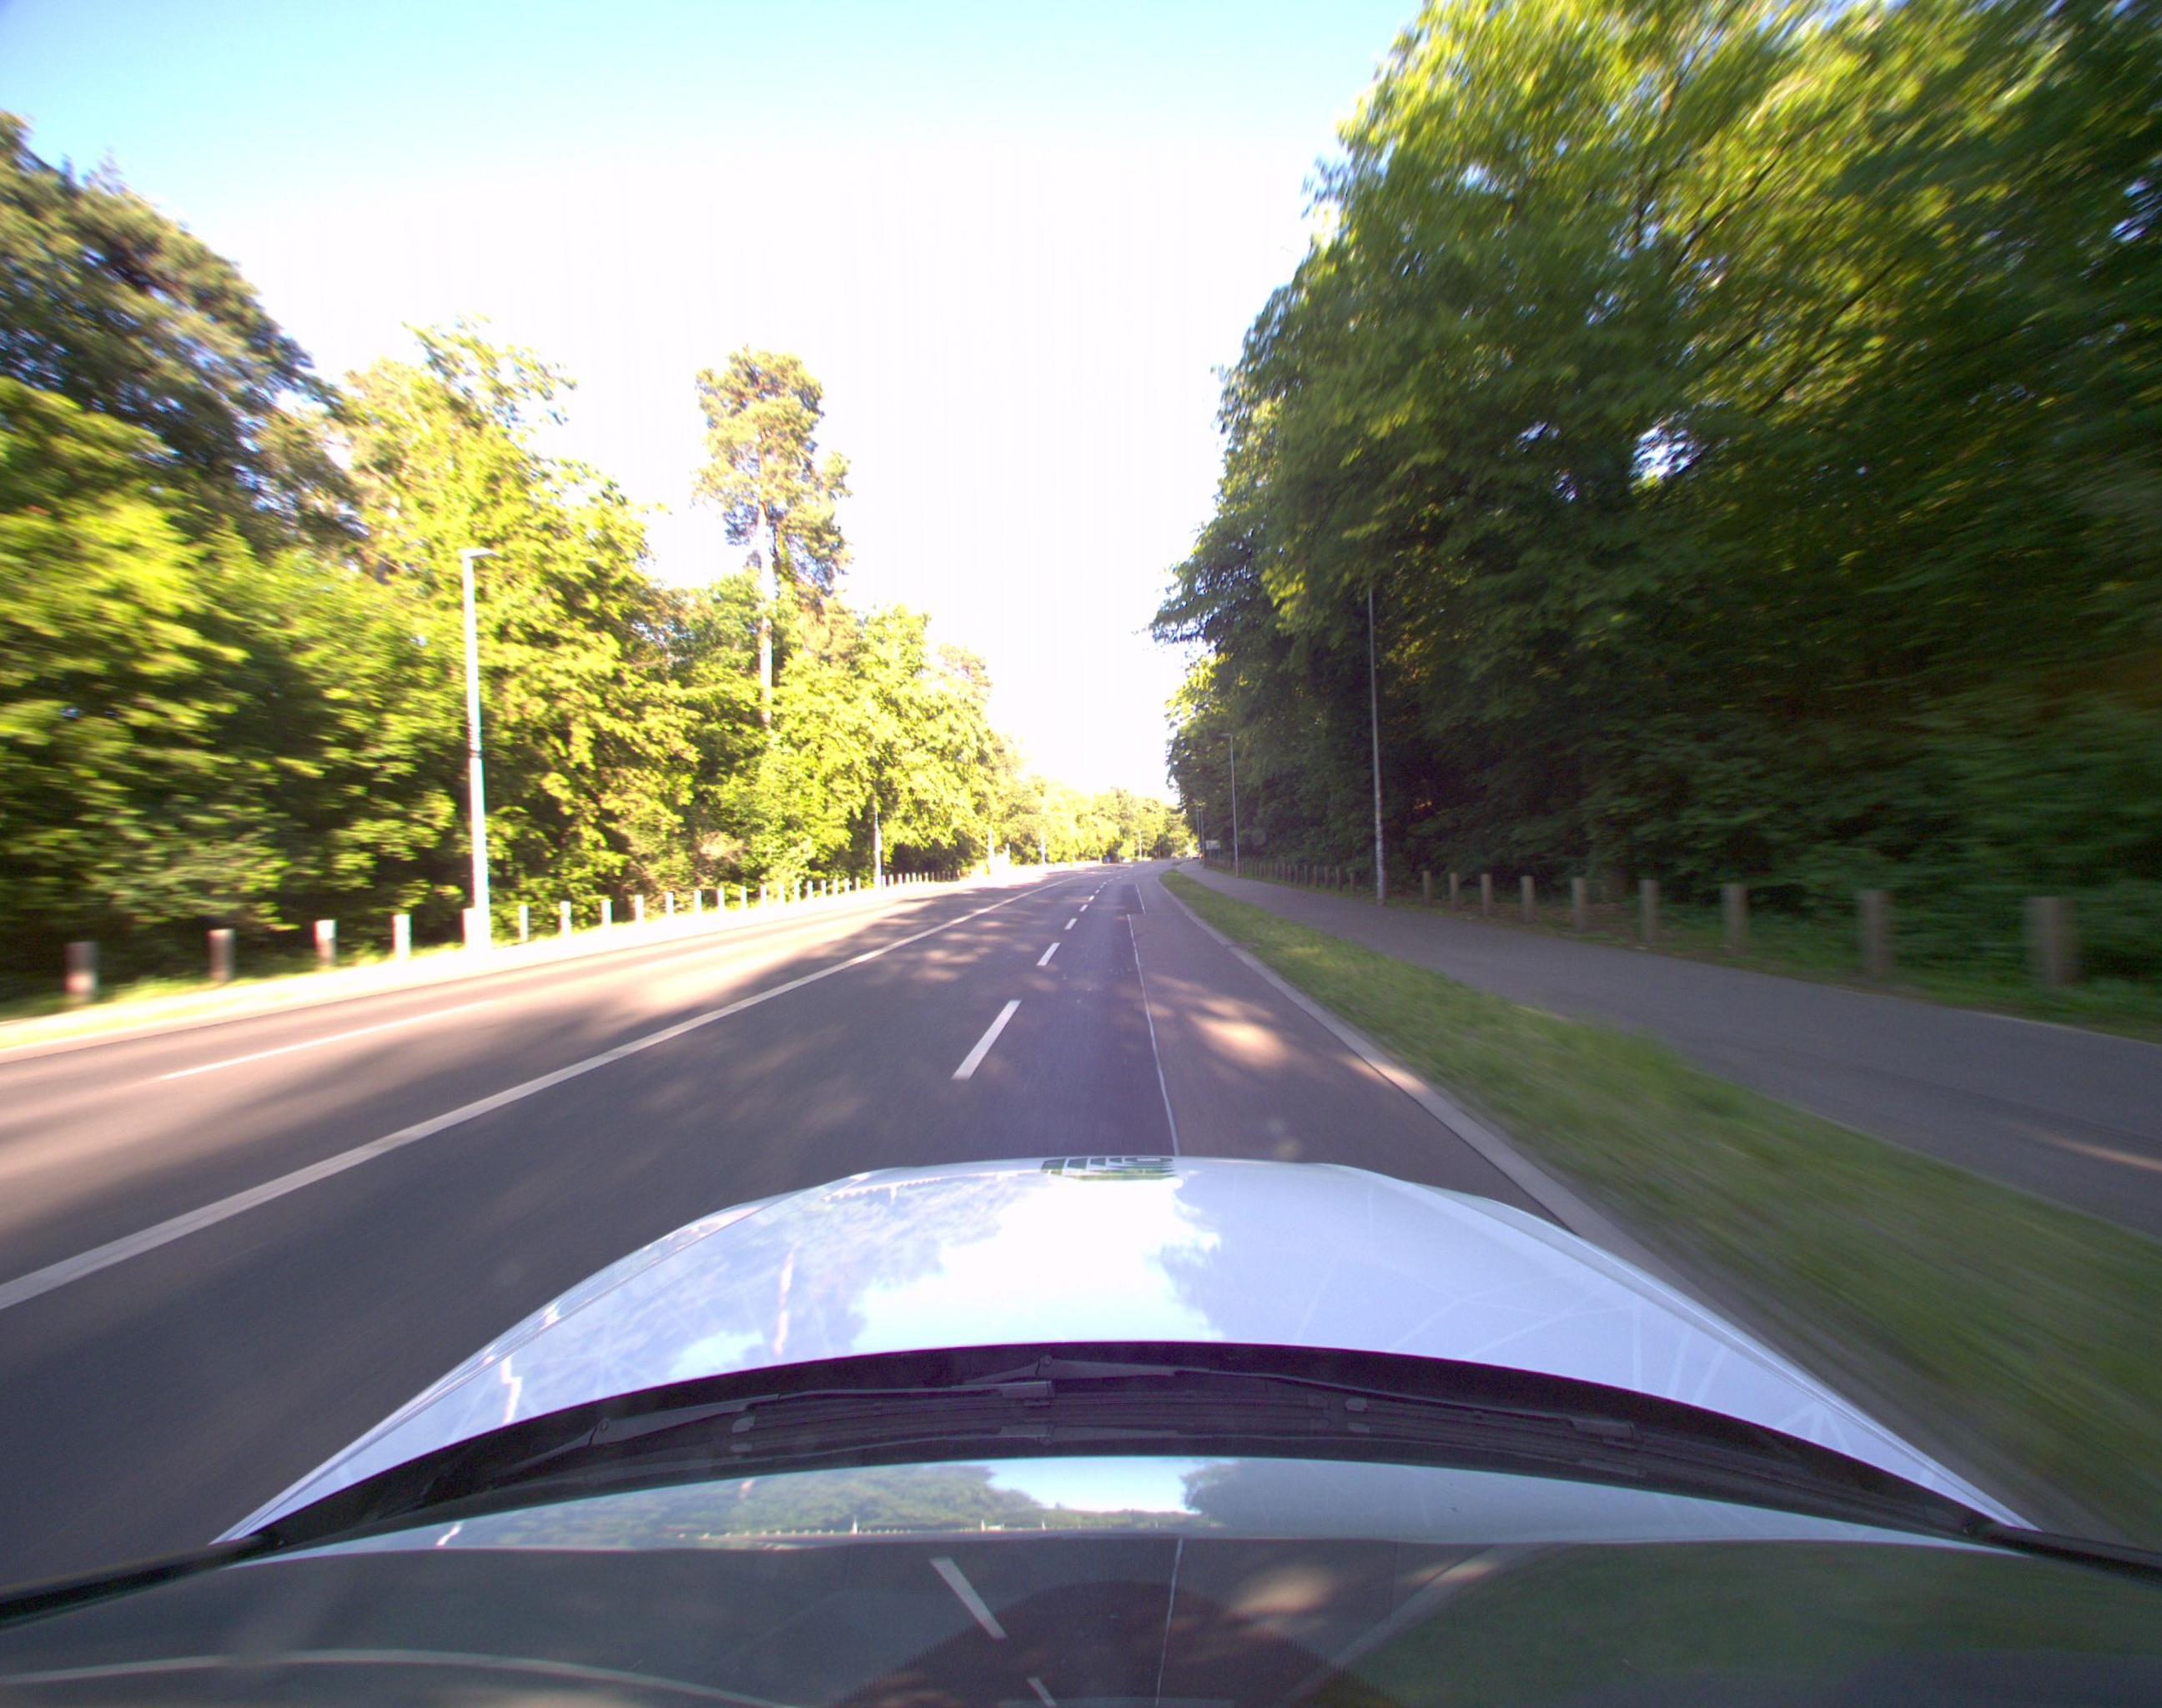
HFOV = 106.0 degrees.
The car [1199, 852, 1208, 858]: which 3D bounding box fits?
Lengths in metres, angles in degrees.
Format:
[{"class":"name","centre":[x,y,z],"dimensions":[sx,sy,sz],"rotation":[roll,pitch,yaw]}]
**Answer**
[{"class":"car","centre":[36.605,0.257,243.661],"dimensions":[1.864,1.765,4.020],"rotation":[-3,0,20]}]

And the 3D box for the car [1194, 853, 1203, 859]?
[{"class":"car","centre":[33.123,0.520,229.627],"dimensions":[1.864,1.709,4.020],"rotation":[-3,0,20]}]

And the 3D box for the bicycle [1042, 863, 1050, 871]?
[{"class":"bicycle","centre":[-4.841,1.804,112.923],"dimensions":[0.398,1.132,2.229],"rotation":[-1,-1,17]}]
